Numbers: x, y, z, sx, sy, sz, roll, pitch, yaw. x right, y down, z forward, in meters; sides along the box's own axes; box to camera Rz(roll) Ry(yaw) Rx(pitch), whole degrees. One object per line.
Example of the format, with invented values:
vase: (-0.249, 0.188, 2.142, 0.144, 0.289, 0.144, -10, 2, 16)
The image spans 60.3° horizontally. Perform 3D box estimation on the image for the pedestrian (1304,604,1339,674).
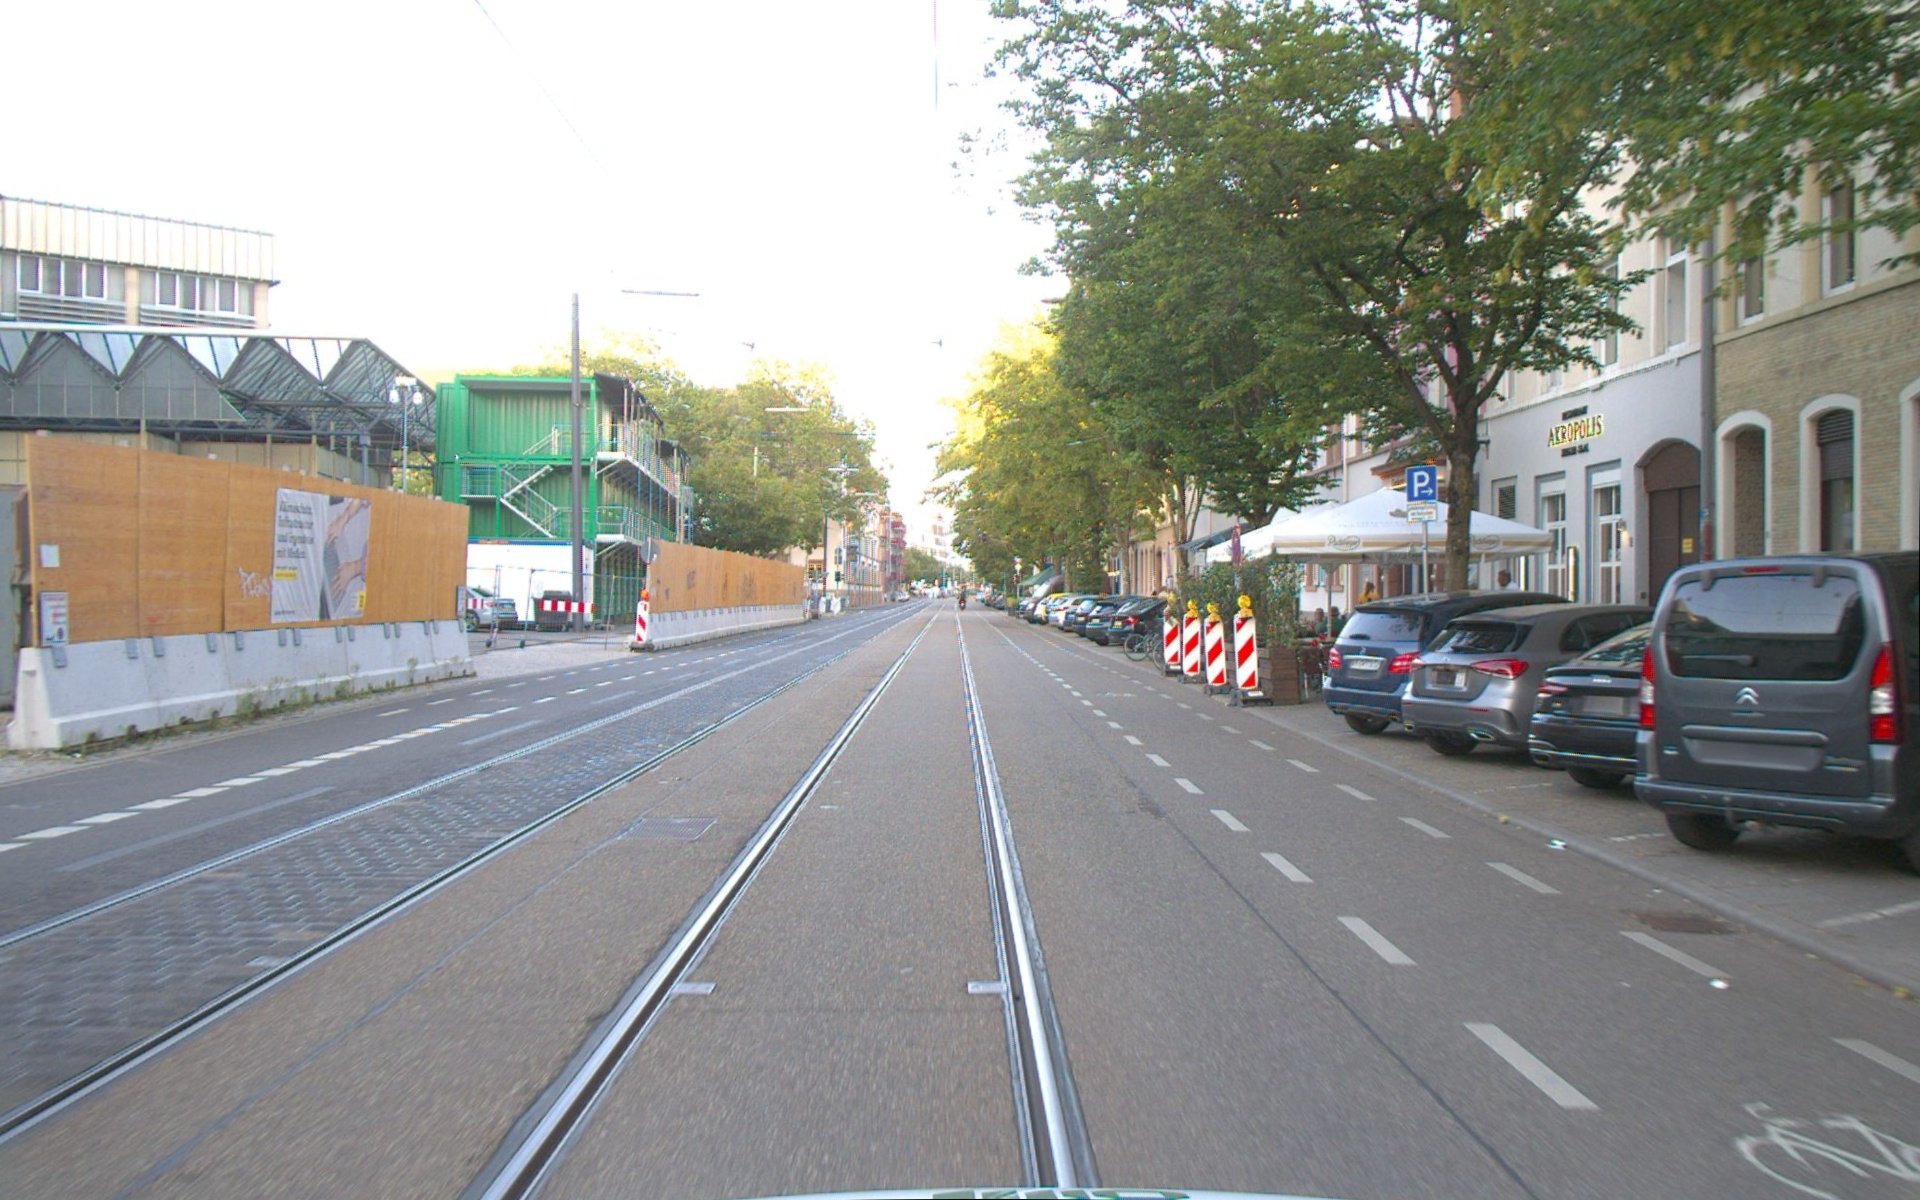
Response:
pedestrian: (6.911, 0.744, 31.652, 0.492, 1.315, 0.599, 1, 0, -4)

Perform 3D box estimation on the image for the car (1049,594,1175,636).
car: (5.580, 0.549, 60.842, 4.194, 1.416, 2.001, -1, 0, -24)

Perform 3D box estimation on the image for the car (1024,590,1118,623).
car: (5.304, 0.313, 79.025, 4.070, 1.450, 1.905, -1, 0, -26)

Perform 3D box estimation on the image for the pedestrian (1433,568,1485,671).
pedestrian: (8.881, 0.343, 29.455, 0.541, 1.794, 0.850, 1, 0, -12)

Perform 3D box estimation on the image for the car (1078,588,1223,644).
car: (5.909, 0.484, 51.410, 4.051, 1.496, 1.815, -3, 1, -17)

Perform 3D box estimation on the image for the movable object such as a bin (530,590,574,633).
movable object such as a bin: (-13.459, 0.377, 54.593, 1.280, 1.393, 0.783, 0, 0, -4)

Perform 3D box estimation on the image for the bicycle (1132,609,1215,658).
bicycle: (5.087, 0.793, 39.498, 1.865, 1.049, 0.533, -3, 0, -2)

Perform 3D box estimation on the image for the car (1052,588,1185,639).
car: (5.404, 0.458, 56.517, 4.064, 1.496, 2.000, -3, 1, -25)

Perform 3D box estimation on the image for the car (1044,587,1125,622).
car: (6.187, 0.216, 82.581, 3.869, 1.648, 1.921, -2, 0, 0)

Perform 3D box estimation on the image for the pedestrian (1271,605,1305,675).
pedestrian: (6.259, 0.758, 31.579, 0.492, 1.315, 0.599, 1, 0, -5)

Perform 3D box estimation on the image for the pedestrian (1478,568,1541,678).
pedestrian: (9.086, 0.378, 27.356, 0.694, 1.794, 0.708, 1, 0, -28)

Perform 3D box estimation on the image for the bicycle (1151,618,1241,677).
bicycle: (4.636, 0.928, 32.534, 1.645, 1.049, 0.556, -3, 0, -2)

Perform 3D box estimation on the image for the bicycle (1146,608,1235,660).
bicycle: (5.141, 0.757, 36.982, 1.849, 1.049, 0.608, -3, 0, -2)

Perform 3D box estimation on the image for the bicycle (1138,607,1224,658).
bicycle: (5.136, 0.746, 38.497, 1.849, 1.086, 0.674, -3, 0, -2)

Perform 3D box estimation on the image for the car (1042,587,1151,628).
car: (5.678, 0.293, 69.066, 4.174, 1.576, 2.014, -1, 0, -11)

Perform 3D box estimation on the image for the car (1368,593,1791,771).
car: (5.931, 0.707, 15.818, 3.726, 1.432, 1.692, -2, 0, -26)

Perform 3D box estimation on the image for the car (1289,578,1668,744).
car: (5.758, 0.613, 18.331, 3.912, 1.580, 1.692, -2, 0, -26)

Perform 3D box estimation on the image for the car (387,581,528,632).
car: (-15.964, 0.188, 52.572, 3.910, 1.427, 1.737, 3, 1, 14)

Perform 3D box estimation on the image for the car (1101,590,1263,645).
car: (6.171, 0.490, 46.035, 4.099, 1.451, 1.813, 1, 0, -20)

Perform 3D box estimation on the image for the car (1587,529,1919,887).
car: (6.165, 0.503, 10.384, 4.102, 1.838, 1.989, -2, 0, -29)

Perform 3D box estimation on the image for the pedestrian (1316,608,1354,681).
pedestrian: (6.860, 0.803, 30.282, 0.585, 1.315, 0.504, 1, 0, 1)

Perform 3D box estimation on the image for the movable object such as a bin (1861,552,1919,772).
movable object such as a bin: (9.071, 0.579, 15.728, 0.600, 2.049, 0.695, 0, 0, -2)

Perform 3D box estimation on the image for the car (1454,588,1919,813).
car: (6.242, 0.698, 13.294, 4.258, 1.413, 1.792, -3, 1, -26)

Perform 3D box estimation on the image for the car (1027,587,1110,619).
car: (5.666, 0.157, 86.318, 3.899, 1.512, 1.906, -1, -1, -24)

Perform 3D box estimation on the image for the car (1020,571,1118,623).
car: (6.004, -0.178, 91.200, 5.015, 2.689, 2.012, -2, 0, -17)

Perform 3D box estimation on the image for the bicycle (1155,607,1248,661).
bicycle: (5.188, 0.726, 35.579, 1.849, 1.049, 0.608, -3, 0, -2)

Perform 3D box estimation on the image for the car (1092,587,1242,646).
car: (6.090, 0.474, 48.687, 3.886, 1.496, 1.992, -3, 1, -17)

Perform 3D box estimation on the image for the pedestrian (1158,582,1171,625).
pedestrian: (8.850, 0.163, 71.575, 0.553, 1.846, 0.607, 0, 0, 5)

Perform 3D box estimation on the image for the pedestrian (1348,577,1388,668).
pedestrian: (8.156, 0.448, 33.079, 0.539, 1.794, 0.894, 1, 0, -1)
